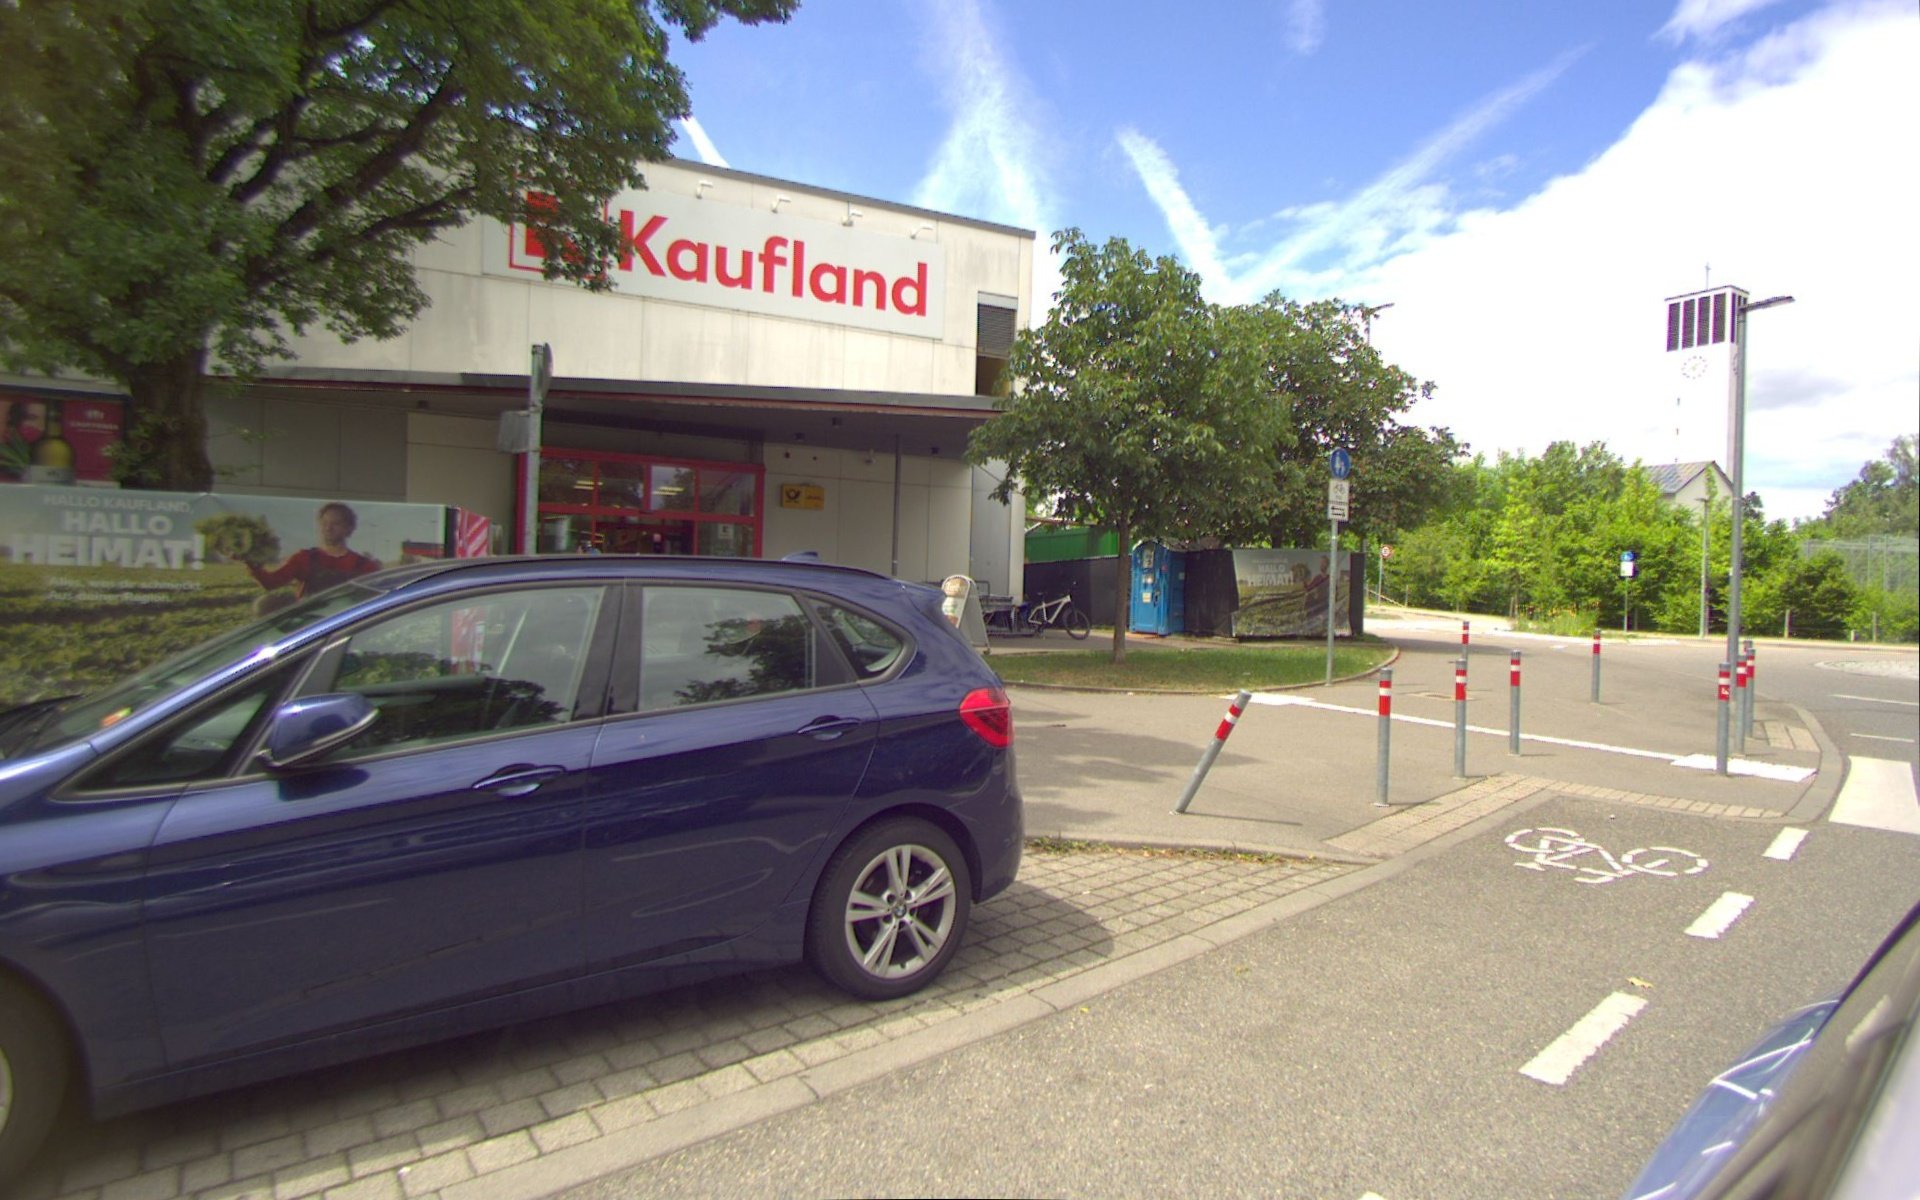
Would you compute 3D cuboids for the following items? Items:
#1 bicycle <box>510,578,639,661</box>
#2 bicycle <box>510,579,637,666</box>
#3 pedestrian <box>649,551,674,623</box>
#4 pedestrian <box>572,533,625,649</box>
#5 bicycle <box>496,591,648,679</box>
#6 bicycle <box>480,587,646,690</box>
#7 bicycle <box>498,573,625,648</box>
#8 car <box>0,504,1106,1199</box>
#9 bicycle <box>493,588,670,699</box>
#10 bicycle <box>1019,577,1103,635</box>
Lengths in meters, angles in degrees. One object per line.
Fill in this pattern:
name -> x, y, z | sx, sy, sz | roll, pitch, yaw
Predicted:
bicycle -> -5.607, 0.279, 14.748 | 1.730, 1.170, 0.441 | 0, 0, -24
bicycle -> -5.375, 0.310, 14.108 | 1.627, 1.170, 0.427 | 0, 0, -22
pedestrian -> -6.696, -0.293, 22.703 | 0.485, 1.586, 0.628 | 1, 1, -21
pedestrian -> -5.675, -0.145, 15.899 | 0.732, 1.778, 0.626 | 1, 3, -17
bicycle -> -4.965, 0.429, 12.994 | 1.764, 1.053, 0.522 | 0, 1, -29
bicycle -> -4.639, 0.447, 11.907 | 1.736, 1.170, 0.502 | 1, 0, -8
bicycle -> -6.451, 0.164, 16.457 | 1.873, 1.170, 0.531 | 0, 0, -19
car -> -1.761, 0.541, 3.644 | 4.345, 1.597, 1.924 | 0, 2, -34
bicycle -> -4.106, 0.468, 11.071 | 1.753, 1.170, 0.452 | 1, 0, -12
bicycle -> 2.260, 0.126, 22.771 | 1.760, 1.249, 0.706 | 1, 0, 34
